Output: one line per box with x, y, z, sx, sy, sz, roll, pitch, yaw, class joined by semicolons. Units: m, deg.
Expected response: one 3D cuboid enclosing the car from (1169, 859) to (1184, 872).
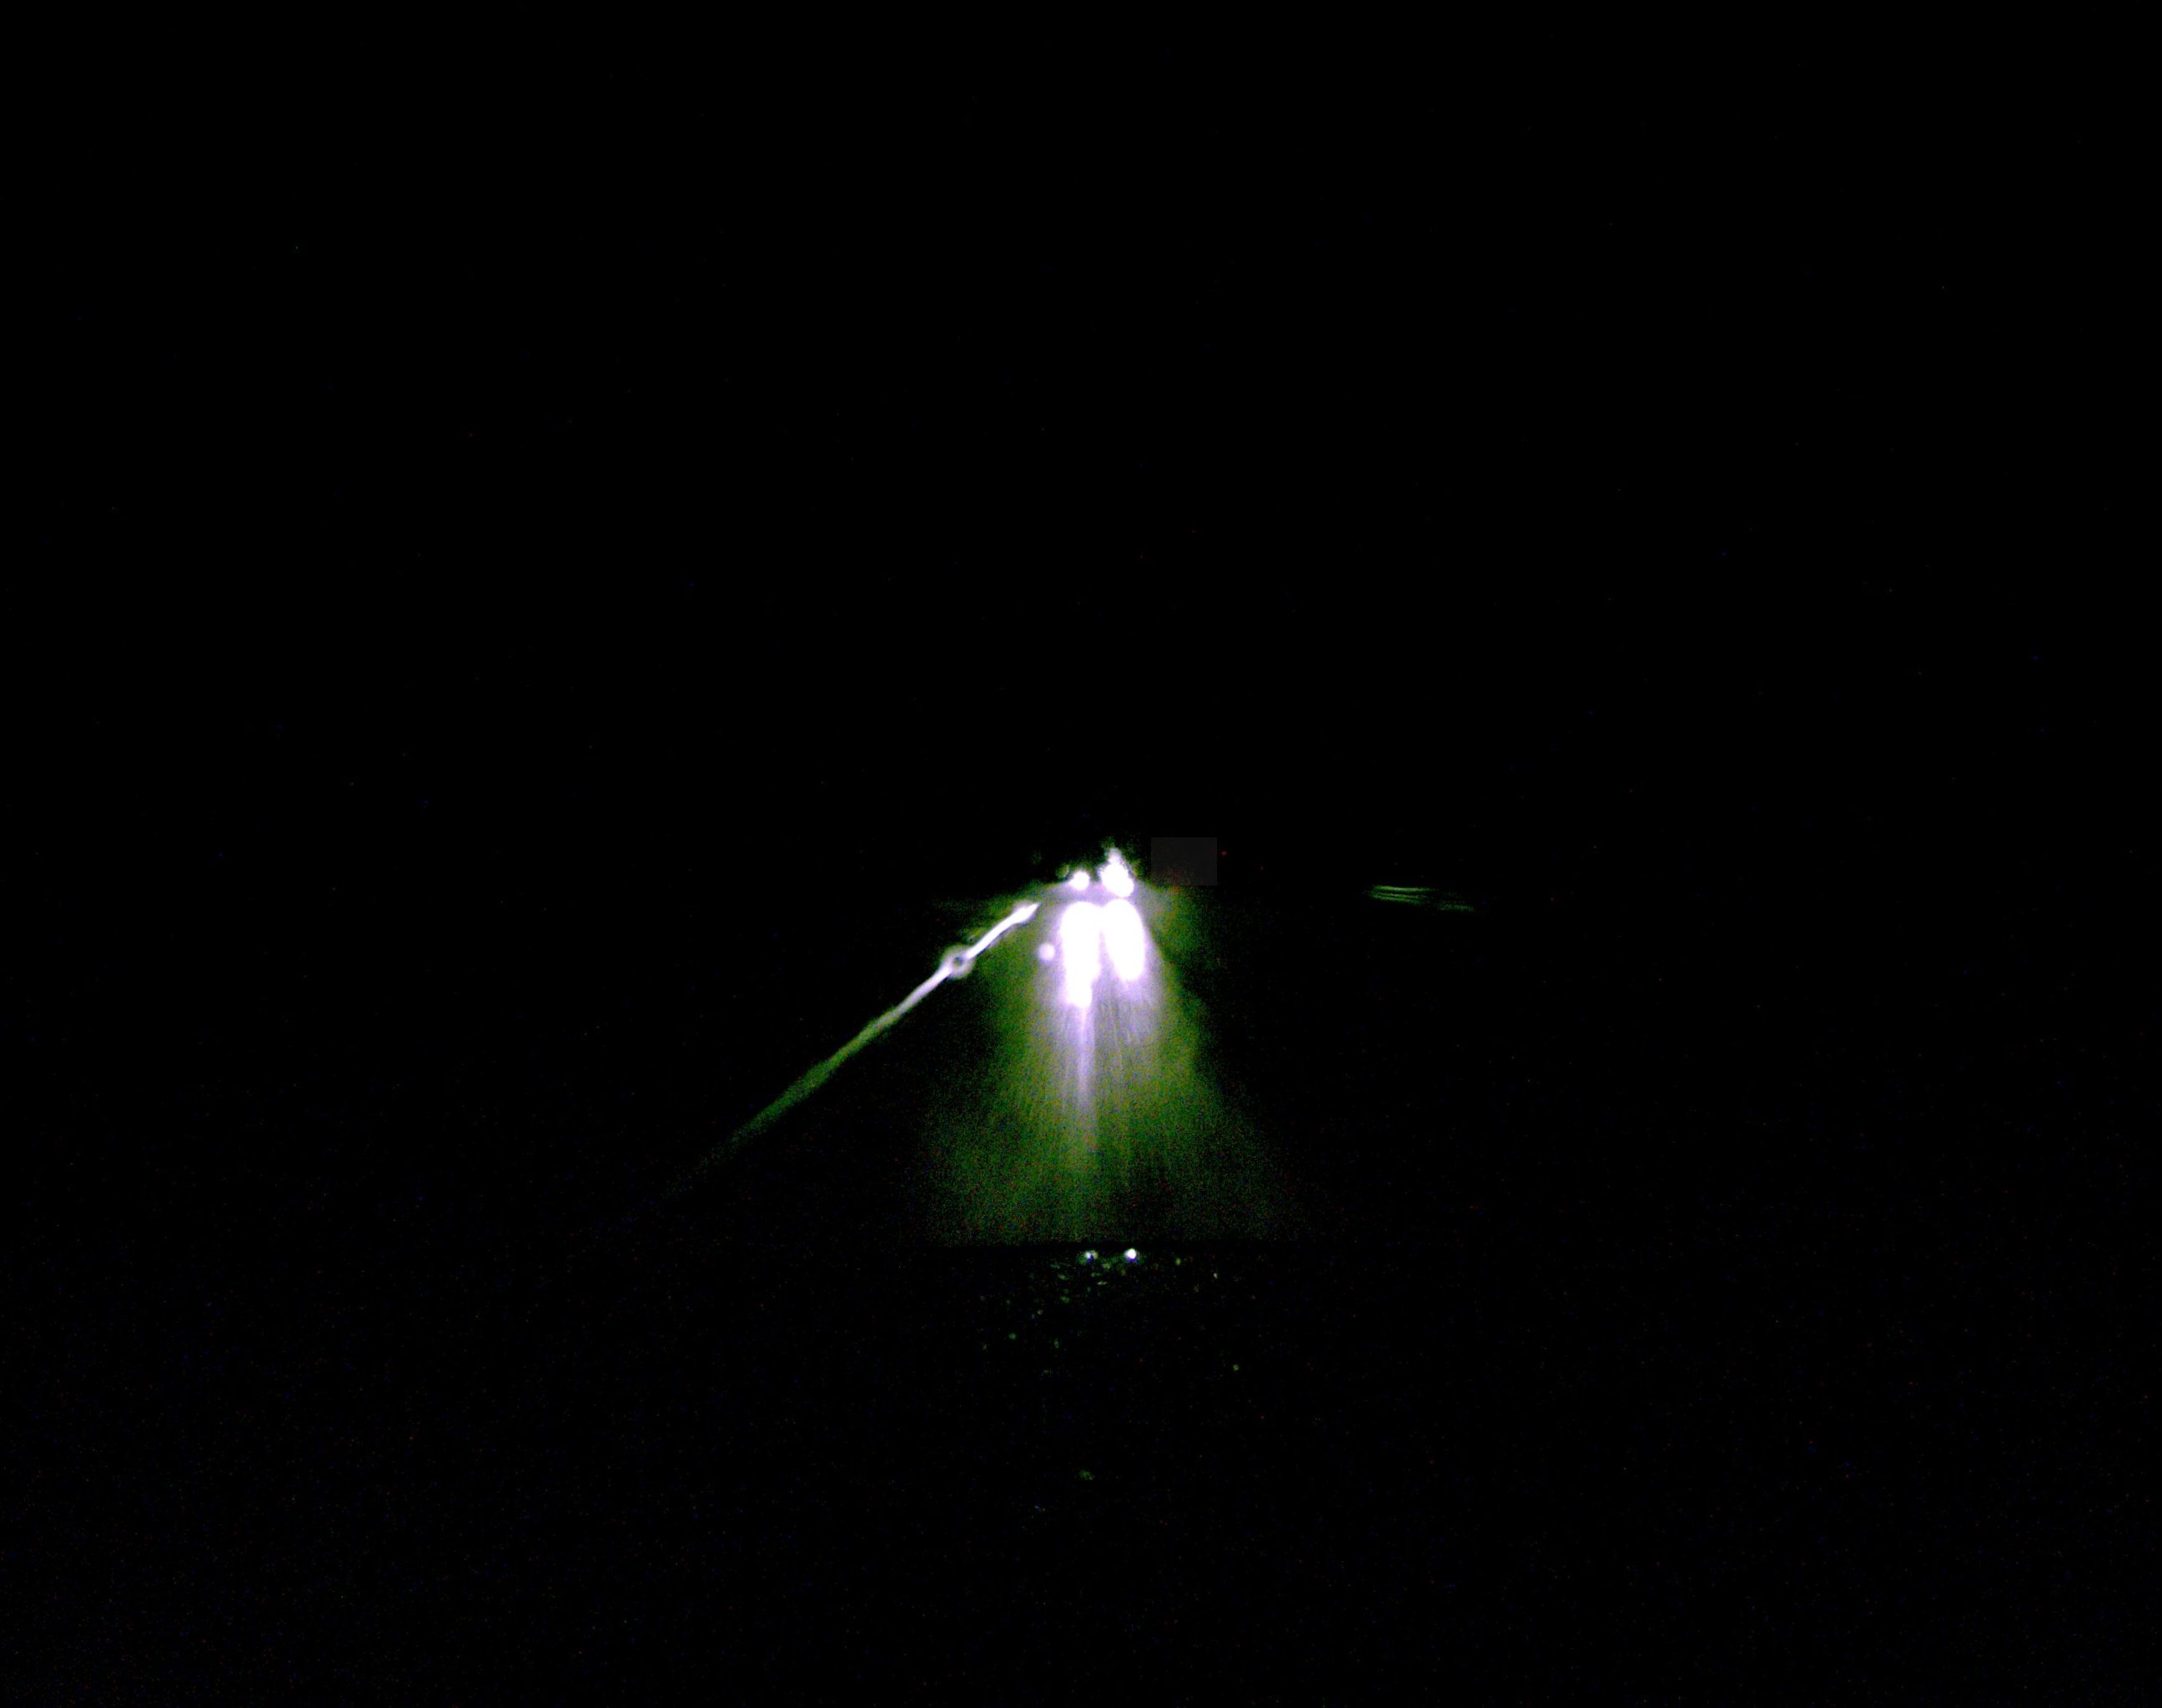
11.291;1.347;89.437;1.598;1.501;3.603;1;-1;9;car

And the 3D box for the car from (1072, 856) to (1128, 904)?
0.764;0.929;28.344;1.744;1.502;3.601;-3;1;6;car

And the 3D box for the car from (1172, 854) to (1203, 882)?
6.169;0.795;44.312;1.566;1.516;3.487;1;0;5;car
